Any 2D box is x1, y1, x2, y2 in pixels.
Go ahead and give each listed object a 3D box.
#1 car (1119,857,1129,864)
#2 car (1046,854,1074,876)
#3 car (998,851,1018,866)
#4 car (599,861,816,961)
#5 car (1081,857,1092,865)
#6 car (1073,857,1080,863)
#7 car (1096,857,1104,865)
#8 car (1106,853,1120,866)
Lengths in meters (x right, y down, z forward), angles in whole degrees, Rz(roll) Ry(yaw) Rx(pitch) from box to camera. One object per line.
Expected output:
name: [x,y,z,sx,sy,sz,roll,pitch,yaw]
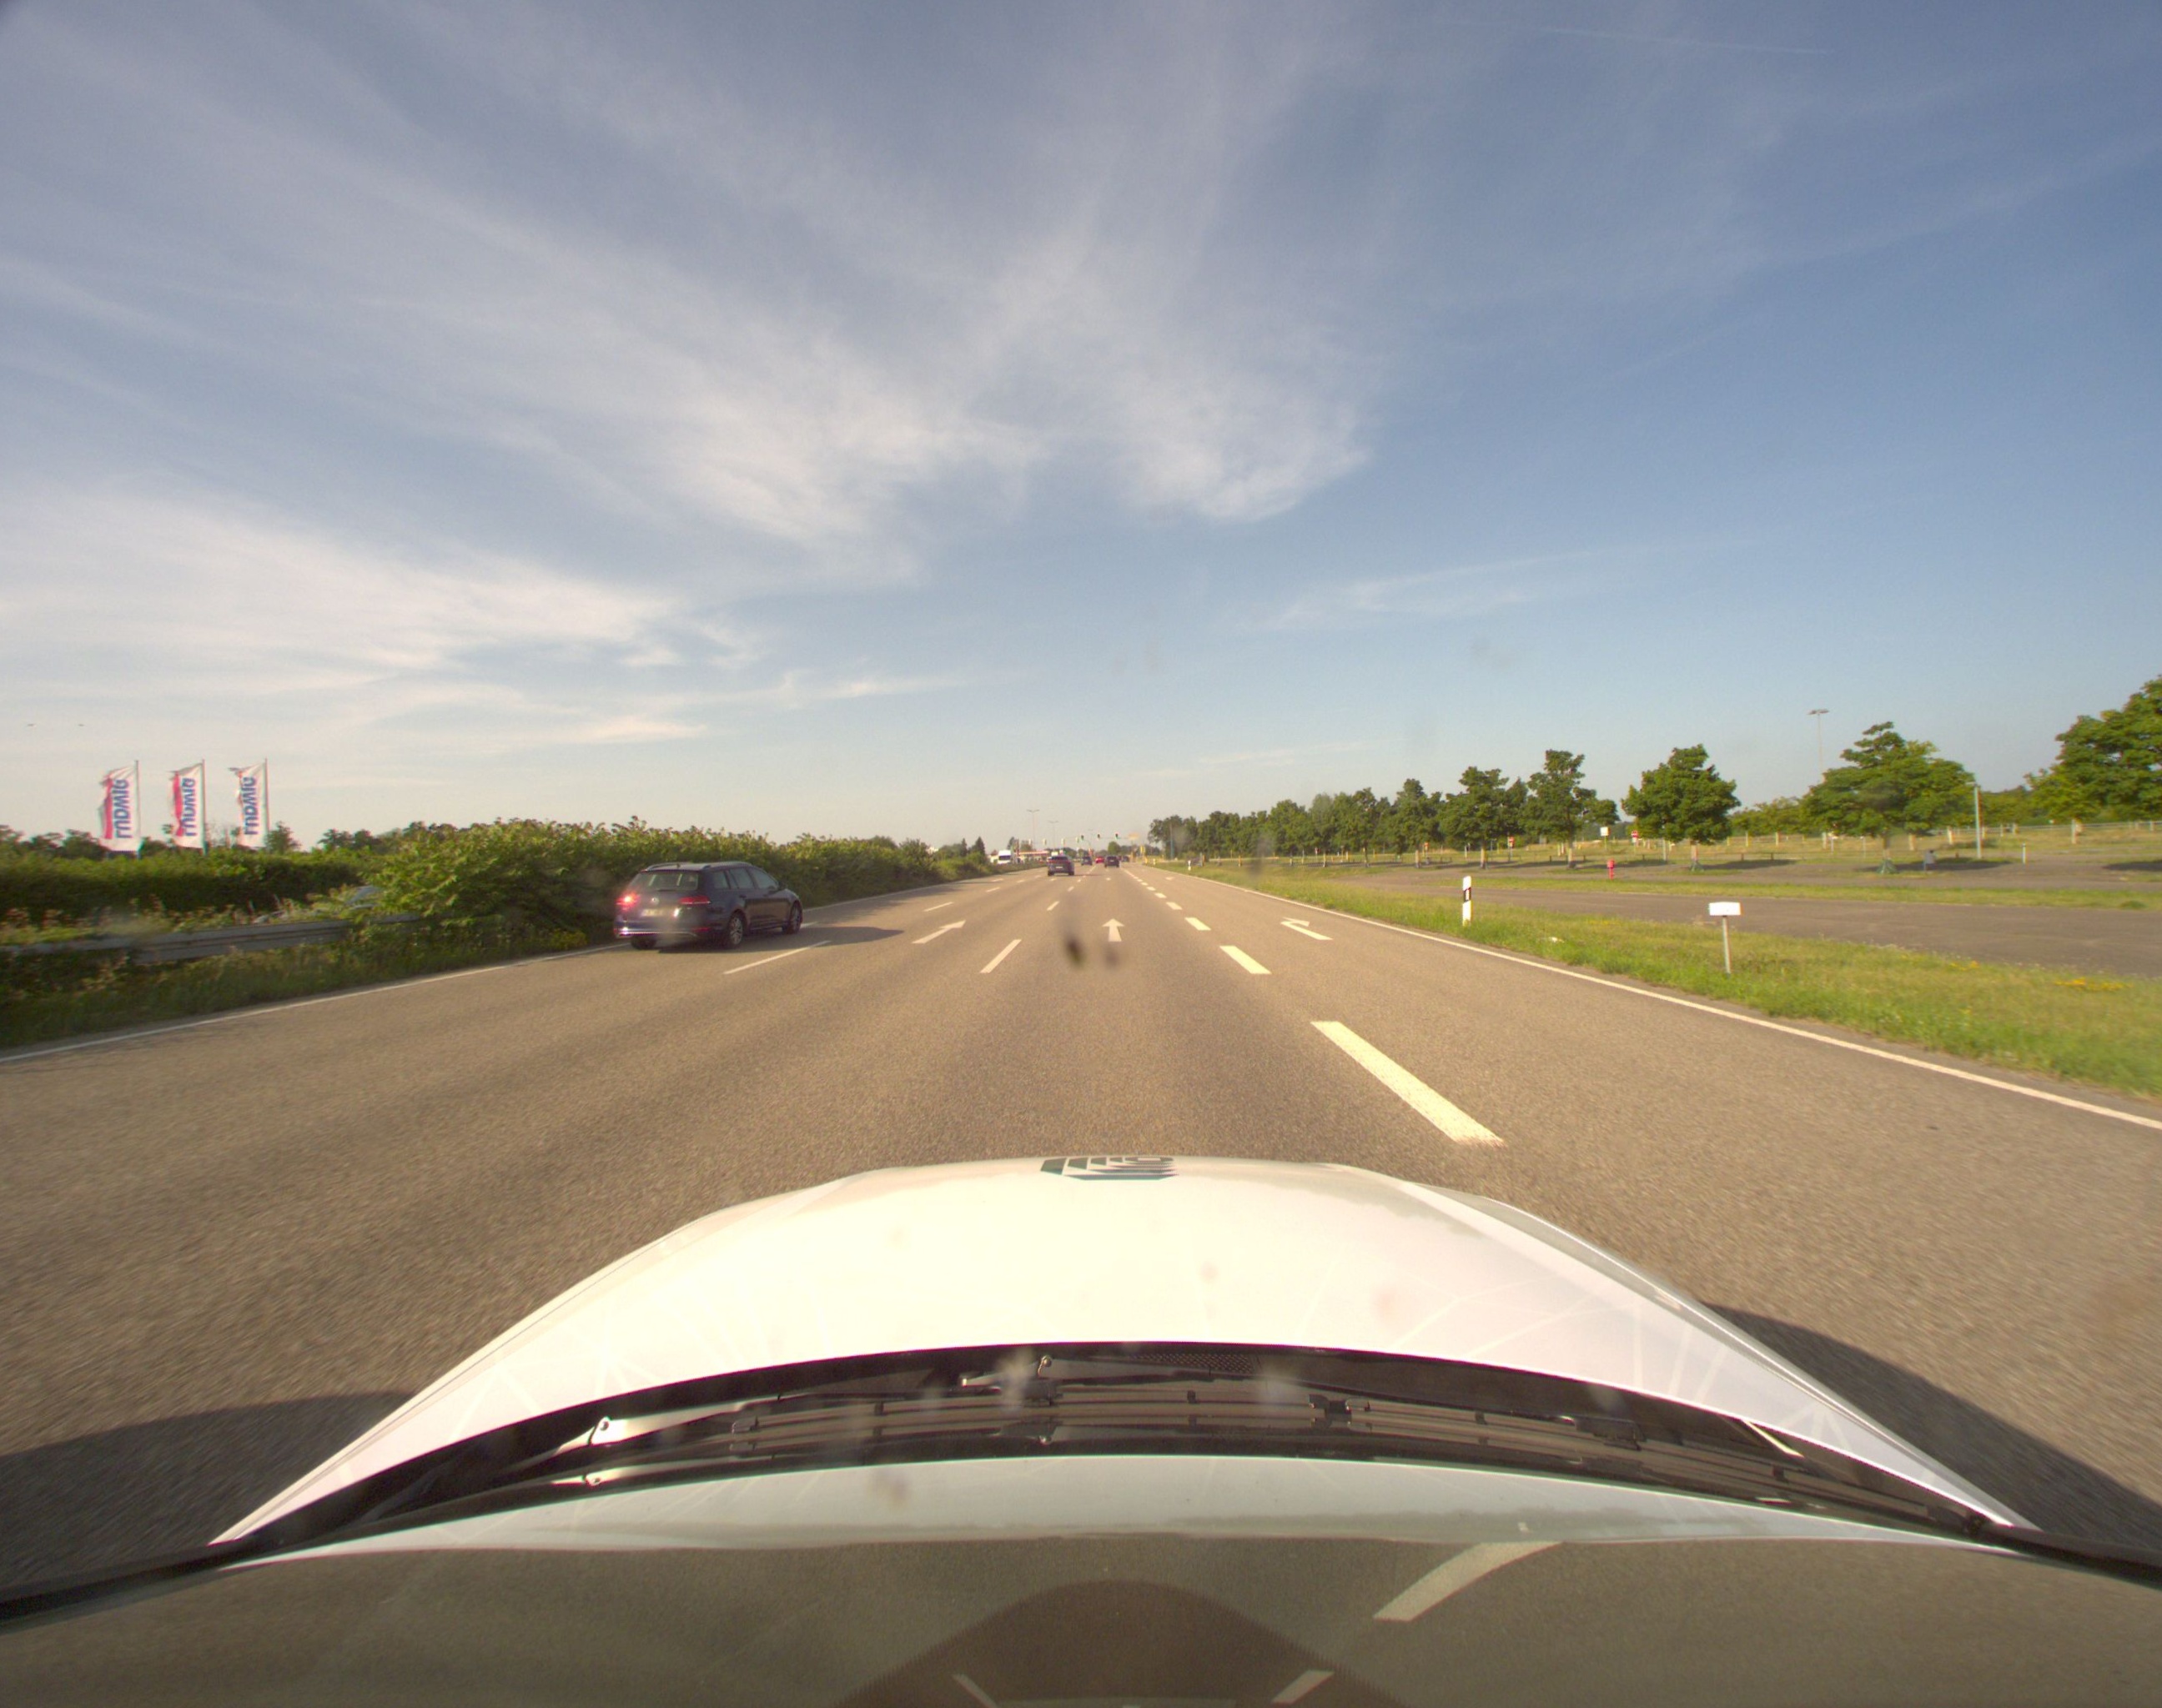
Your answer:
car: [10.032,1.617,190.171,1.940,1.636,3.447,-1,-1,0]
car: [-1.588,0.786,62.533,1.839,1.612,4.402,0,0,2]
car: [-10.444,0.677,117.046,2.154,2.035,6.324,-1,-1,1]
car: [-6.562,0.899,15.003,1.640,1.471,4.778,-2,0,2]
car: [0.981,1.191,139.030,1.806,1.463,4.402,0,0,2]
car: [-1.229,1.496,206.397,1.594,1.532,4.002,0,0,2]
car: [3.957,1.455,168.626,1.641,1.463,3.982,0,0,2]
car: [4.288,0.742,109.350,1.925,1.680,4.402,0,0,2]
